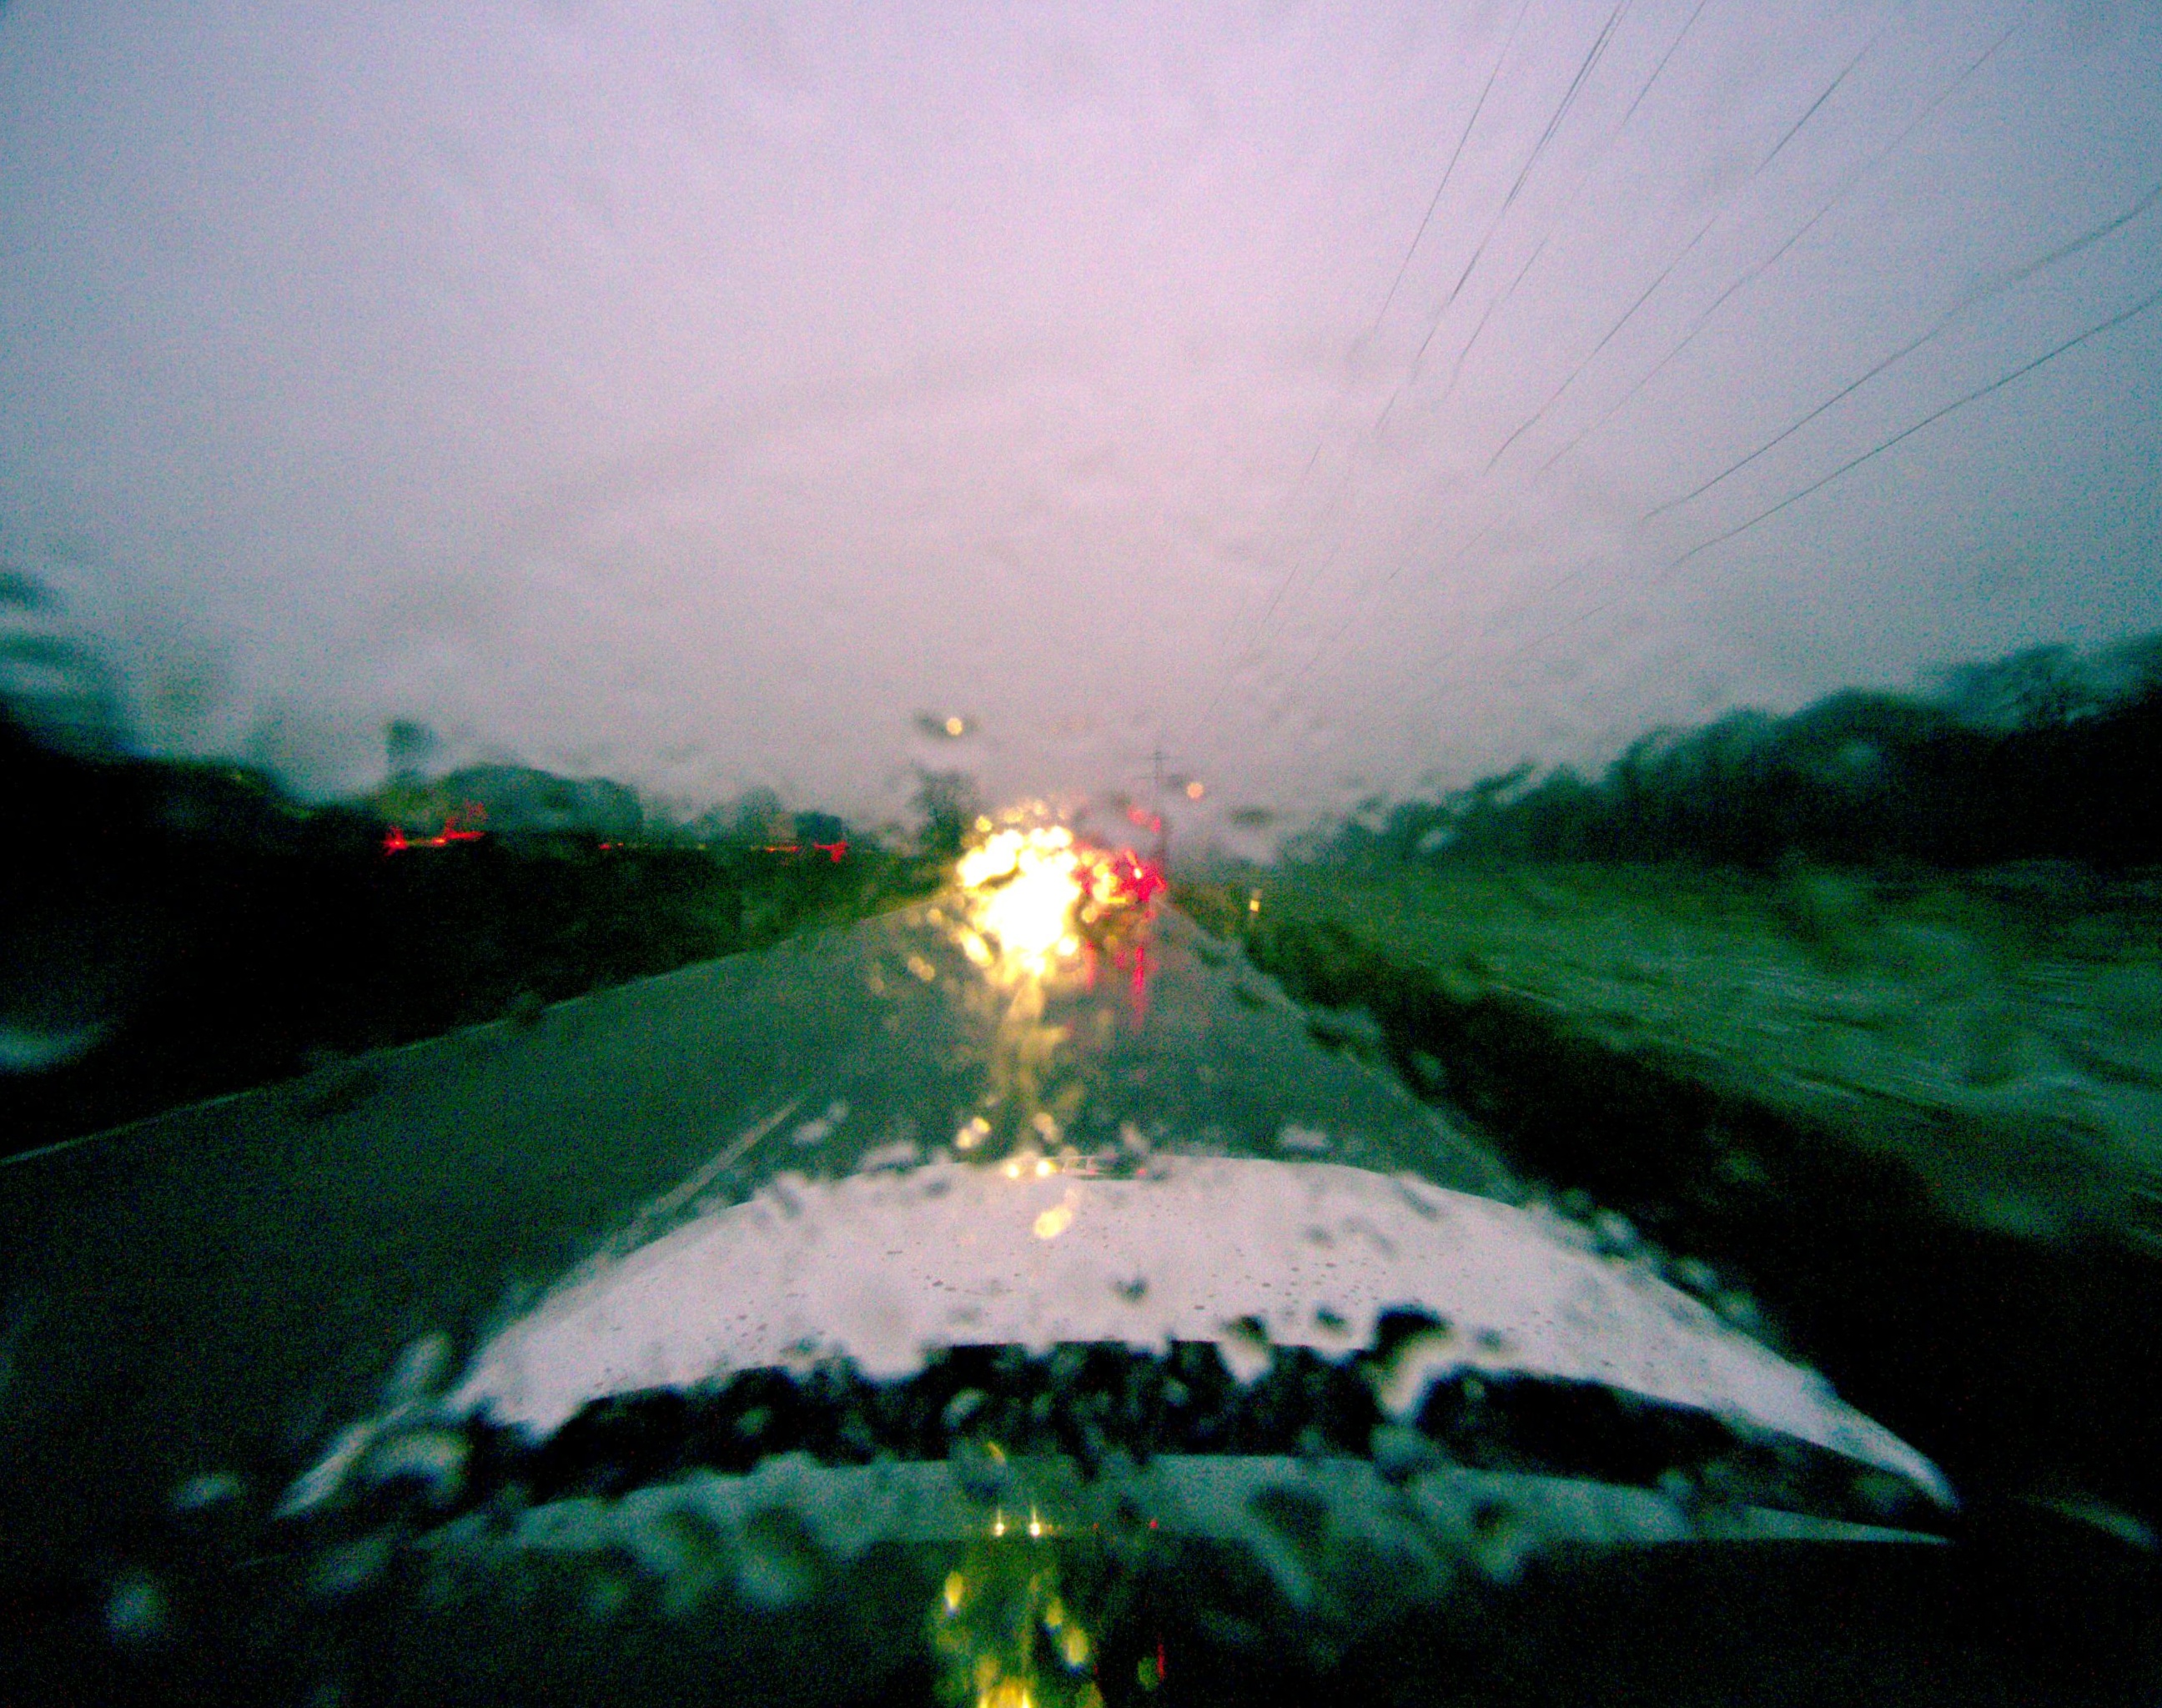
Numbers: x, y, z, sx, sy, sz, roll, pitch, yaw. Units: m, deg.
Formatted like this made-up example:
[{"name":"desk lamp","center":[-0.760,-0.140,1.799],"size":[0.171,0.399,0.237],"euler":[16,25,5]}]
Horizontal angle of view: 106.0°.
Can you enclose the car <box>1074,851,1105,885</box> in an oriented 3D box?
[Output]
[{"name":"car","center":[0.480,0.826,49.978],"size":[1.847,2.014,3.998],"euler":[-1,0,-1]}]

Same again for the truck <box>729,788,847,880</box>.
[{"name":"truck","center":[-30.483,-1.538,88.711],"size":[7.553,7.713,39.962],"euler":[0,0,-13]}]

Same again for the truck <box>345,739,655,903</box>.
[{"name":"truck","center":[-26.510,-1.228,39.290],"size":[3.752,6.288,15.734],"euler":[-1,0,0]}]

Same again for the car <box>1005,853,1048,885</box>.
[{"name":"car","center":[-2.789,0.730,42.429],"size":[1.779,1.591,4.487],"euler":[-1,0,1]}]

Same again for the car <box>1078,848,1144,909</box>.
[{"name":"car","center":[0.688,0.583,20.616],"size":[1.496,1.398,3.198],"euler":[-1,0,-1]}]
